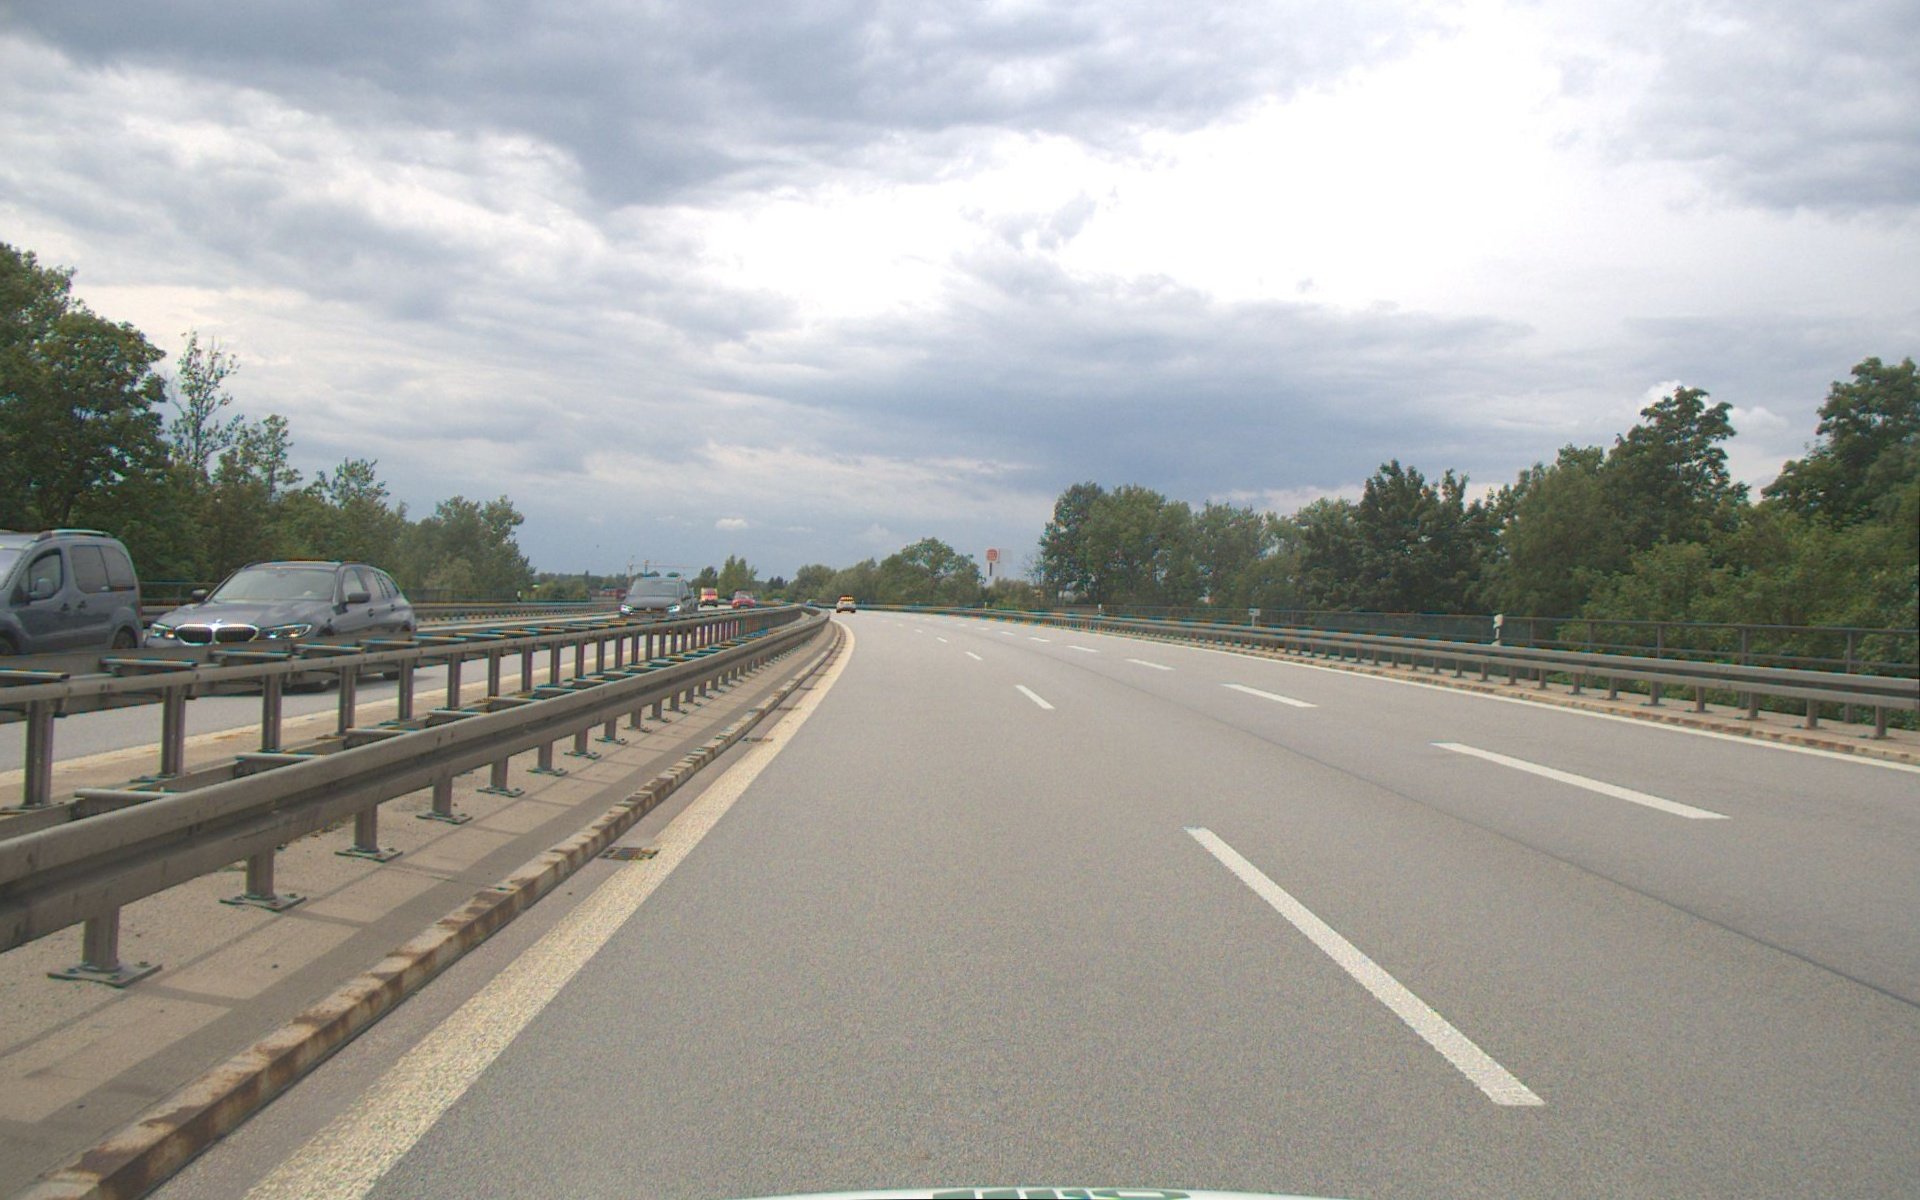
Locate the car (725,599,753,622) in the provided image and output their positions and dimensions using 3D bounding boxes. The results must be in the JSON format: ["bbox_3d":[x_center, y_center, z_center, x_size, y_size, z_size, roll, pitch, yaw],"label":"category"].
[{"bbox_3d":[-16.621,0.762,124.393,1.777,1.669,4.564,1,0,-5],"label":"car"}]

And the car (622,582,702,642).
[{"bbox_3d":[-8.539,0.327,47.635,1.610,1.633,3.999,1,0,-1],"label":"car"}]

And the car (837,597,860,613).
[{"bbox_3d":[-12.101,0.541,179.424,1.868,1.668,4.384,1,0,-11],"label":"car"}]

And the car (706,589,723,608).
[{"bbox_3d":[-30.194,-0.213,203.574,1.956,2.333,6.387,1,0,-7],"label":"car"}]

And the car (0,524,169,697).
[{"bbox_3d":[-10.855,0.086,18.580,1.953,1.775,4.223,1,0,-2],"label":"car"}]

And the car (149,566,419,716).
[{"bbox_3d":[-7.744,0.426,19.349,1.611,1.576,3.999,0,0,-2],"label":"car"}]

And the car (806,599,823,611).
[{"bbox_3d":[-19.640,0.657,222.926,1.858,1.668,4.610,1,0,-11],"label":"car"}]
